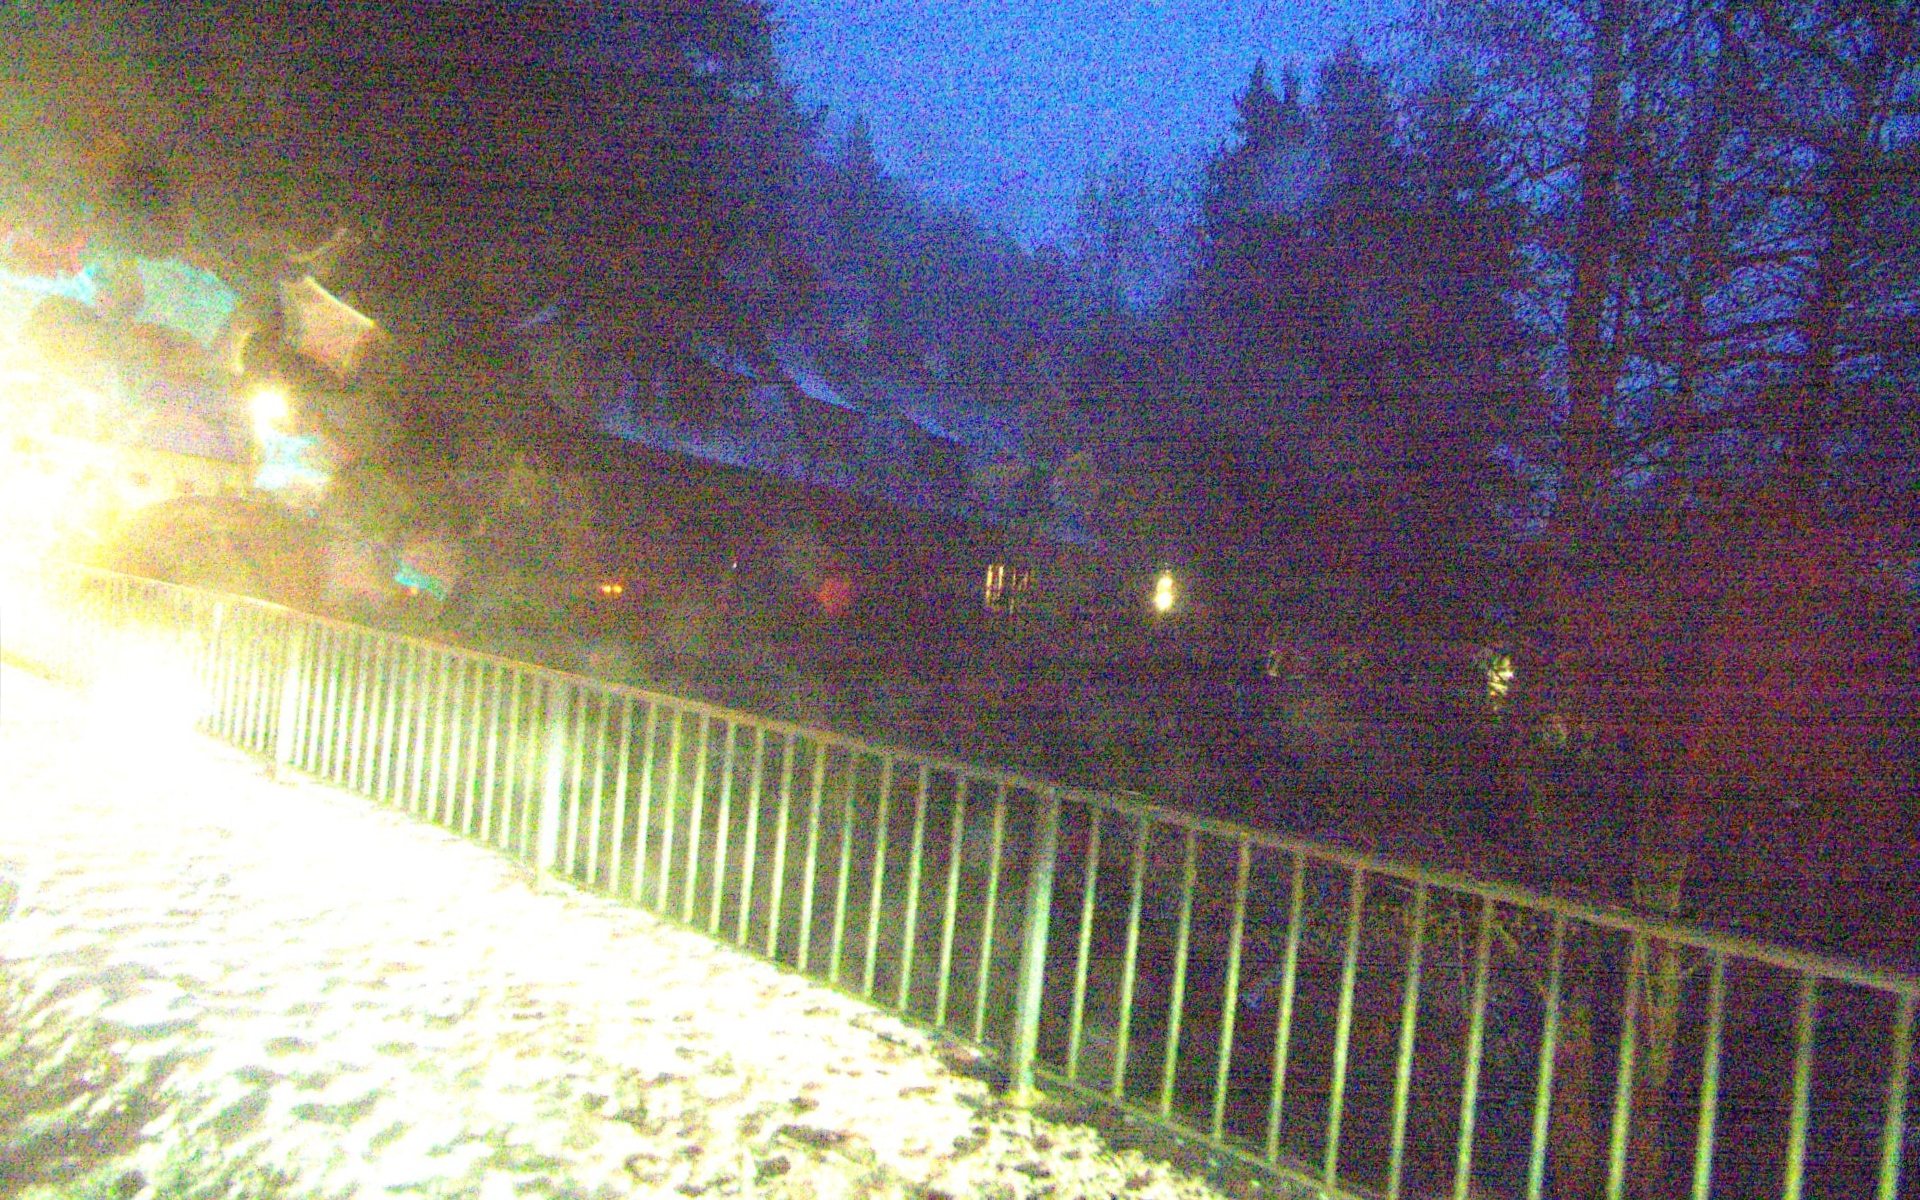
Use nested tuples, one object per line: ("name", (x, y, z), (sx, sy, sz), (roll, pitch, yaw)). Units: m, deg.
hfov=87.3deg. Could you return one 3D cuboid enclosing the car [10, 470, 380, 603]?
("car", (-12.171, -0.954, 16.225), (1.913, 1.607, 4.455), (8, 3, 43))
